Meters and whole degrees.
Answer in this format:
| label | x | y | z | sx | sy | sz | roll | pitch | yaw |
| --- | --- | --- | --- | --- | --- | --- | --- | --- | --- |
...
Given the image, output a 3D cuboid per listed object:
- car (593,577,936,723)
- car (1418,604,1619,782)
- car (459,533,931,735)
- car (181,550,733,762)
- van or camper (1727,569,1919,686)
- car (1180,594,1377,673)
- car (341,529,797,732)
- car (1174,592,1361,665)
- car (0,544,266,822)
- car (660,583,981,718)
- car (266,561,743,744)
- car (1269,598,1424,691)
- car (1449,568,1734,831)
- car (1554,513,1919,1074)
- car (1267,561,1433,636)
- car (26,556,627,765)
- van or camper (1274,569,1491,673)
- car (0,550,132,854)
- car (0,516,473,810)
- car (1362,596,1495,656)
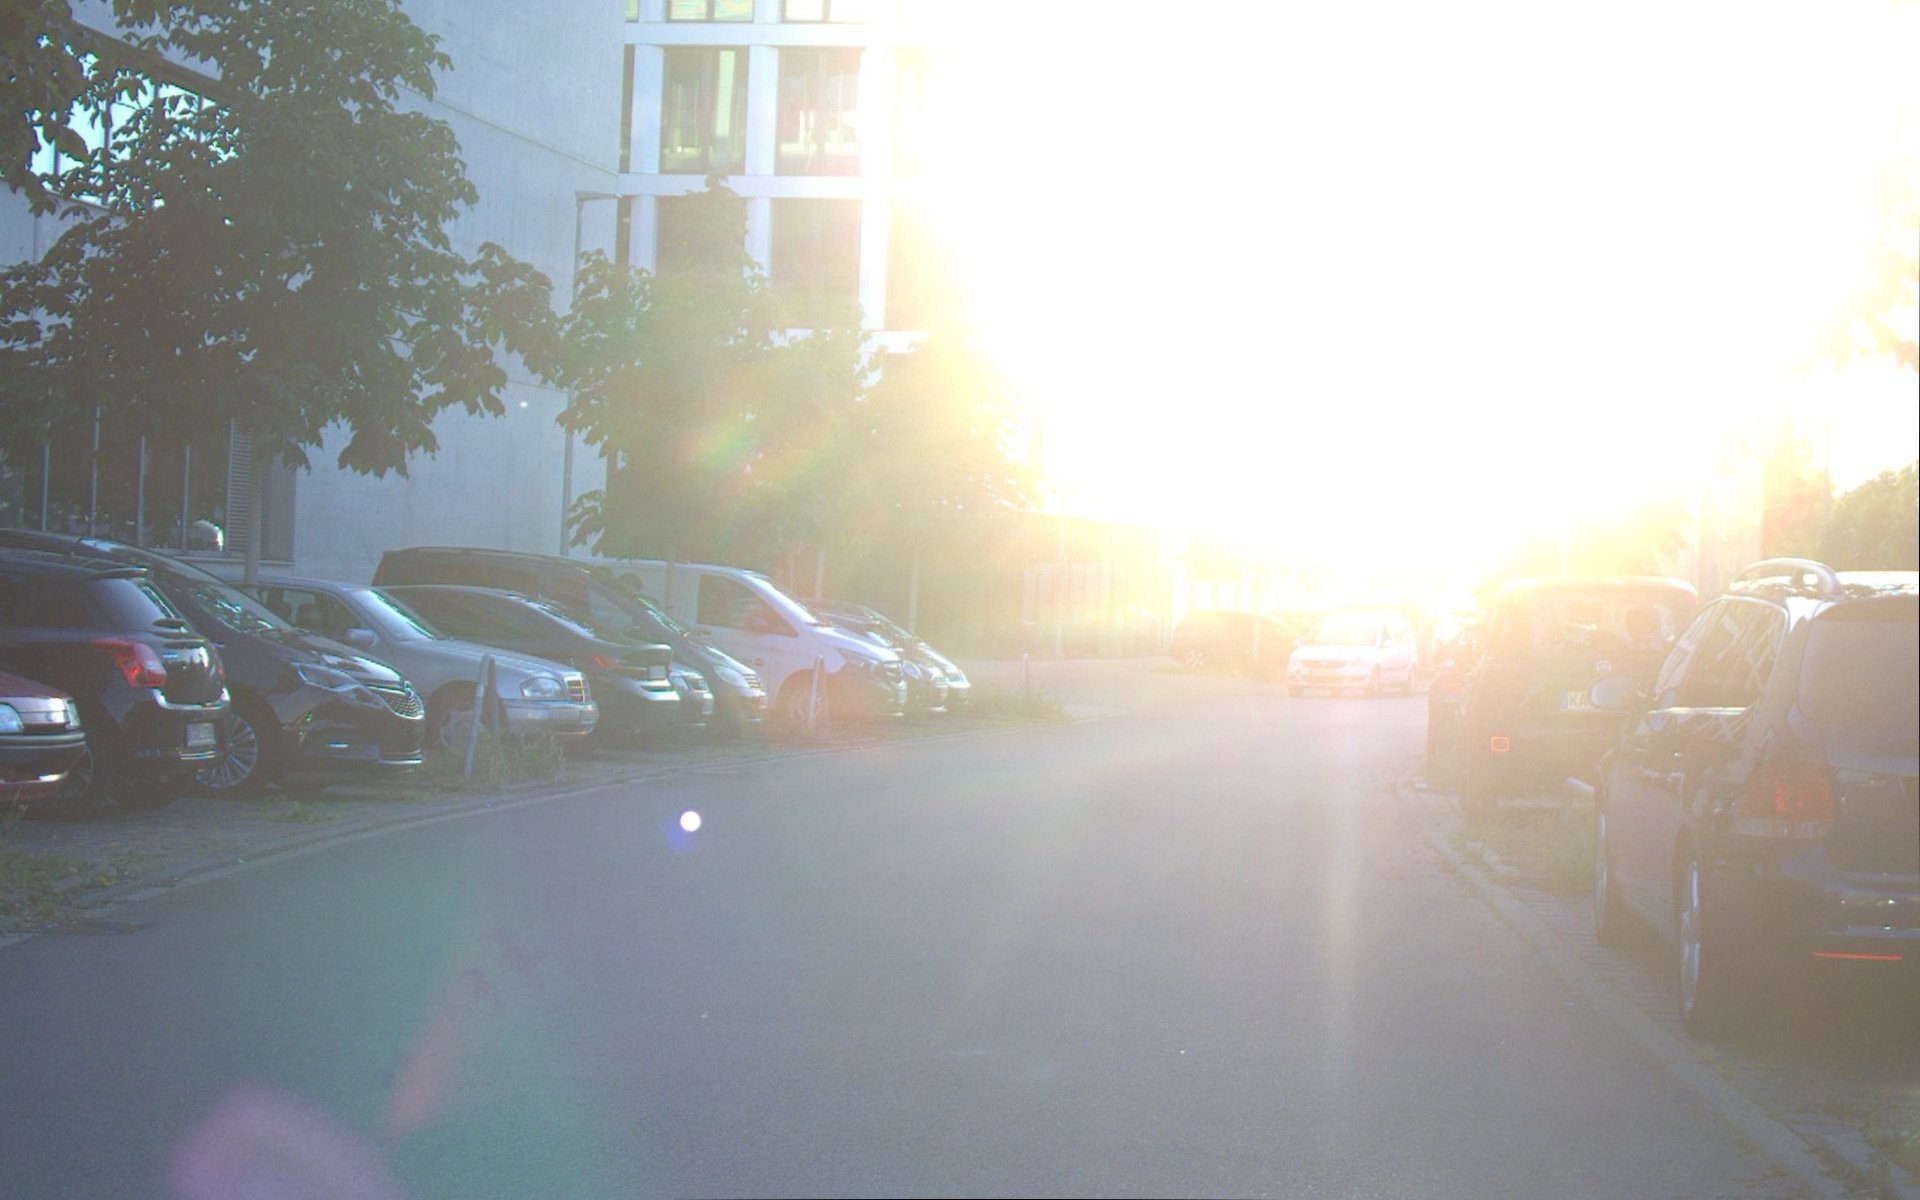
| label | x | y | z | sx | sy | sz | roll | pitch | yaw |
| --- | --- | --- | --- | --- | --- | --- | --- | --- | --- |
| car | -2.445 | 0.625 | 43.429 | 3.988 | 1.517 | 1.605 | 4 | 0 | 9 |
| car | 5.198 | 0.823 | 31.915 | 1.693 | 1.504 | 4.191 | 1 | 0 | 10 |
| car | -3.063 | 0.393 | 40.225 | 5.078 | 1.940 | 1.888 | 4 | 0 | 10 |
| car | -4.423 | 0.484 | 30.433 | 4.400 | 1.494 | 1.762 | 4 | 0 | 12 |
| van or camper | 21.530 | 0.644 | 83.544 | 5.613 | 2.780 | 2.428 | 0 | 1 | 13 |
| car | 7.062 | 0.735 | 76.217 | 4.053 | 1.474 | 1.766 | 3 | 1 | 14 |
| car | -3.991 | 0.312 | 35.422 | 4.248 | 1.736 | 1.724 | 4 | 0 | 9 |
| car | 7.264 | 0.669 | 81.186 | 4.053 | 1.474 | 1.766 | 4 | 0 | 17 |
| car | -6.021 | 0.387 | 19.502 | 3.703 | 1.453 | 1.679 | 3 | 0 | 5 |
| car | -1.830 | 0.658 | 45.599 | 3.888 | 1.483 | 1.650 | 4 | 0 | 11 |
| car | -4.337 | 0.498 | 33.029 | 4.145 | 1.399 | 1.724 | 4 | 0 | 9 |
| car | 7.546 | 0.889 | 66.686 | 1.954 | 1.680 | 4.717 | 0 | -2 | 20 |
| car | 3.947 | 0.597 | 21.896 | 1.578 | 1.504 | 3.495 | 1 | 0 | 8 |
| car | 3.144 | 0.532 | 11.803 | 1.711 | 1.544 | 4.547 | 2 | 1 | 4 |
| car | 10.000 | -0.053 | 88.062 | 4.052 | 1.902 | 1.735 | 0 | 1 | 13 |
| car | -5.115 | 0.463 | 28.021 | 4.435 | 1.459 | 1.762 | 2 | 1 | 8 |
| van or camper | 11.401 | 0.545 | 92.779 | 5.457 | 2.475 | 1.774 | 3 | 1 | 17 |
| car | -6.306 | 0.410 | 17.422 | 3.702 | 1.453 | 1.711 | 3 | 0 | 3 |
| car | -5.514 | 0.349 | 22.210 | 4.309 | 1.690 | 1.896 | 3 | 0 | 5 |
| car | 13.281 | 0.732 | 97.412 | 3.562 | 1.646 | 1.456 | 0 | 1 | 17 |
